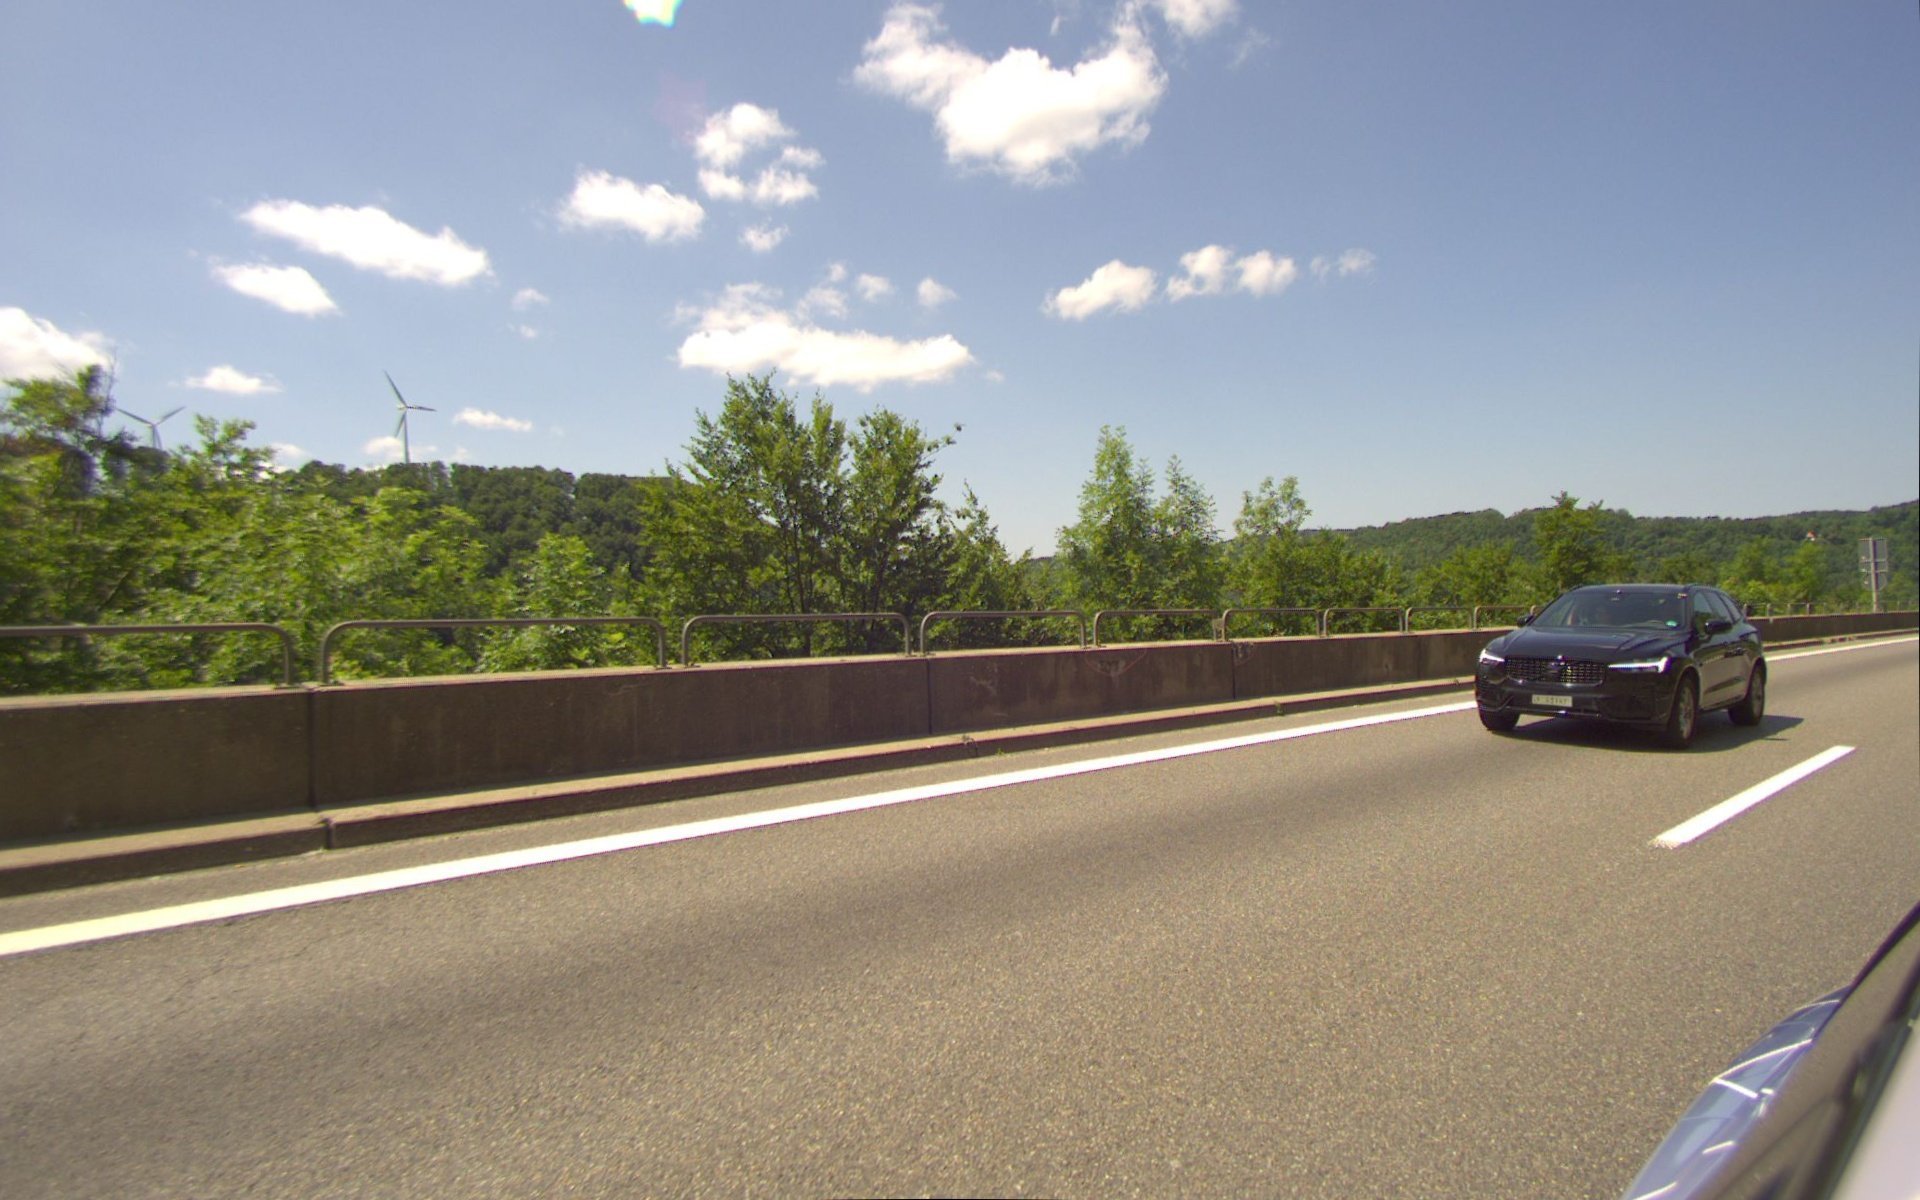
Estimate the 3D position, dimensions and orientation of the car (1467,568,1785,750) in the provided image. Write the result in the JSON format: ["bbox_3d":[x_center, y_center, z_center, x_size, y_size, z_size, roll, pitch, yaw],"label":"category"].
[{"bbox_3d":[7.636,0.531,11.414,4.581,1.654,1.838,0,0,-41],"label":"car"}]

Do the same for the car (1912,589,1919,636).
[{"bbox_3d":[31.155,0.423,31.041,4.213,1.393,1.976,-1,6,-35],"label":"car"}]
